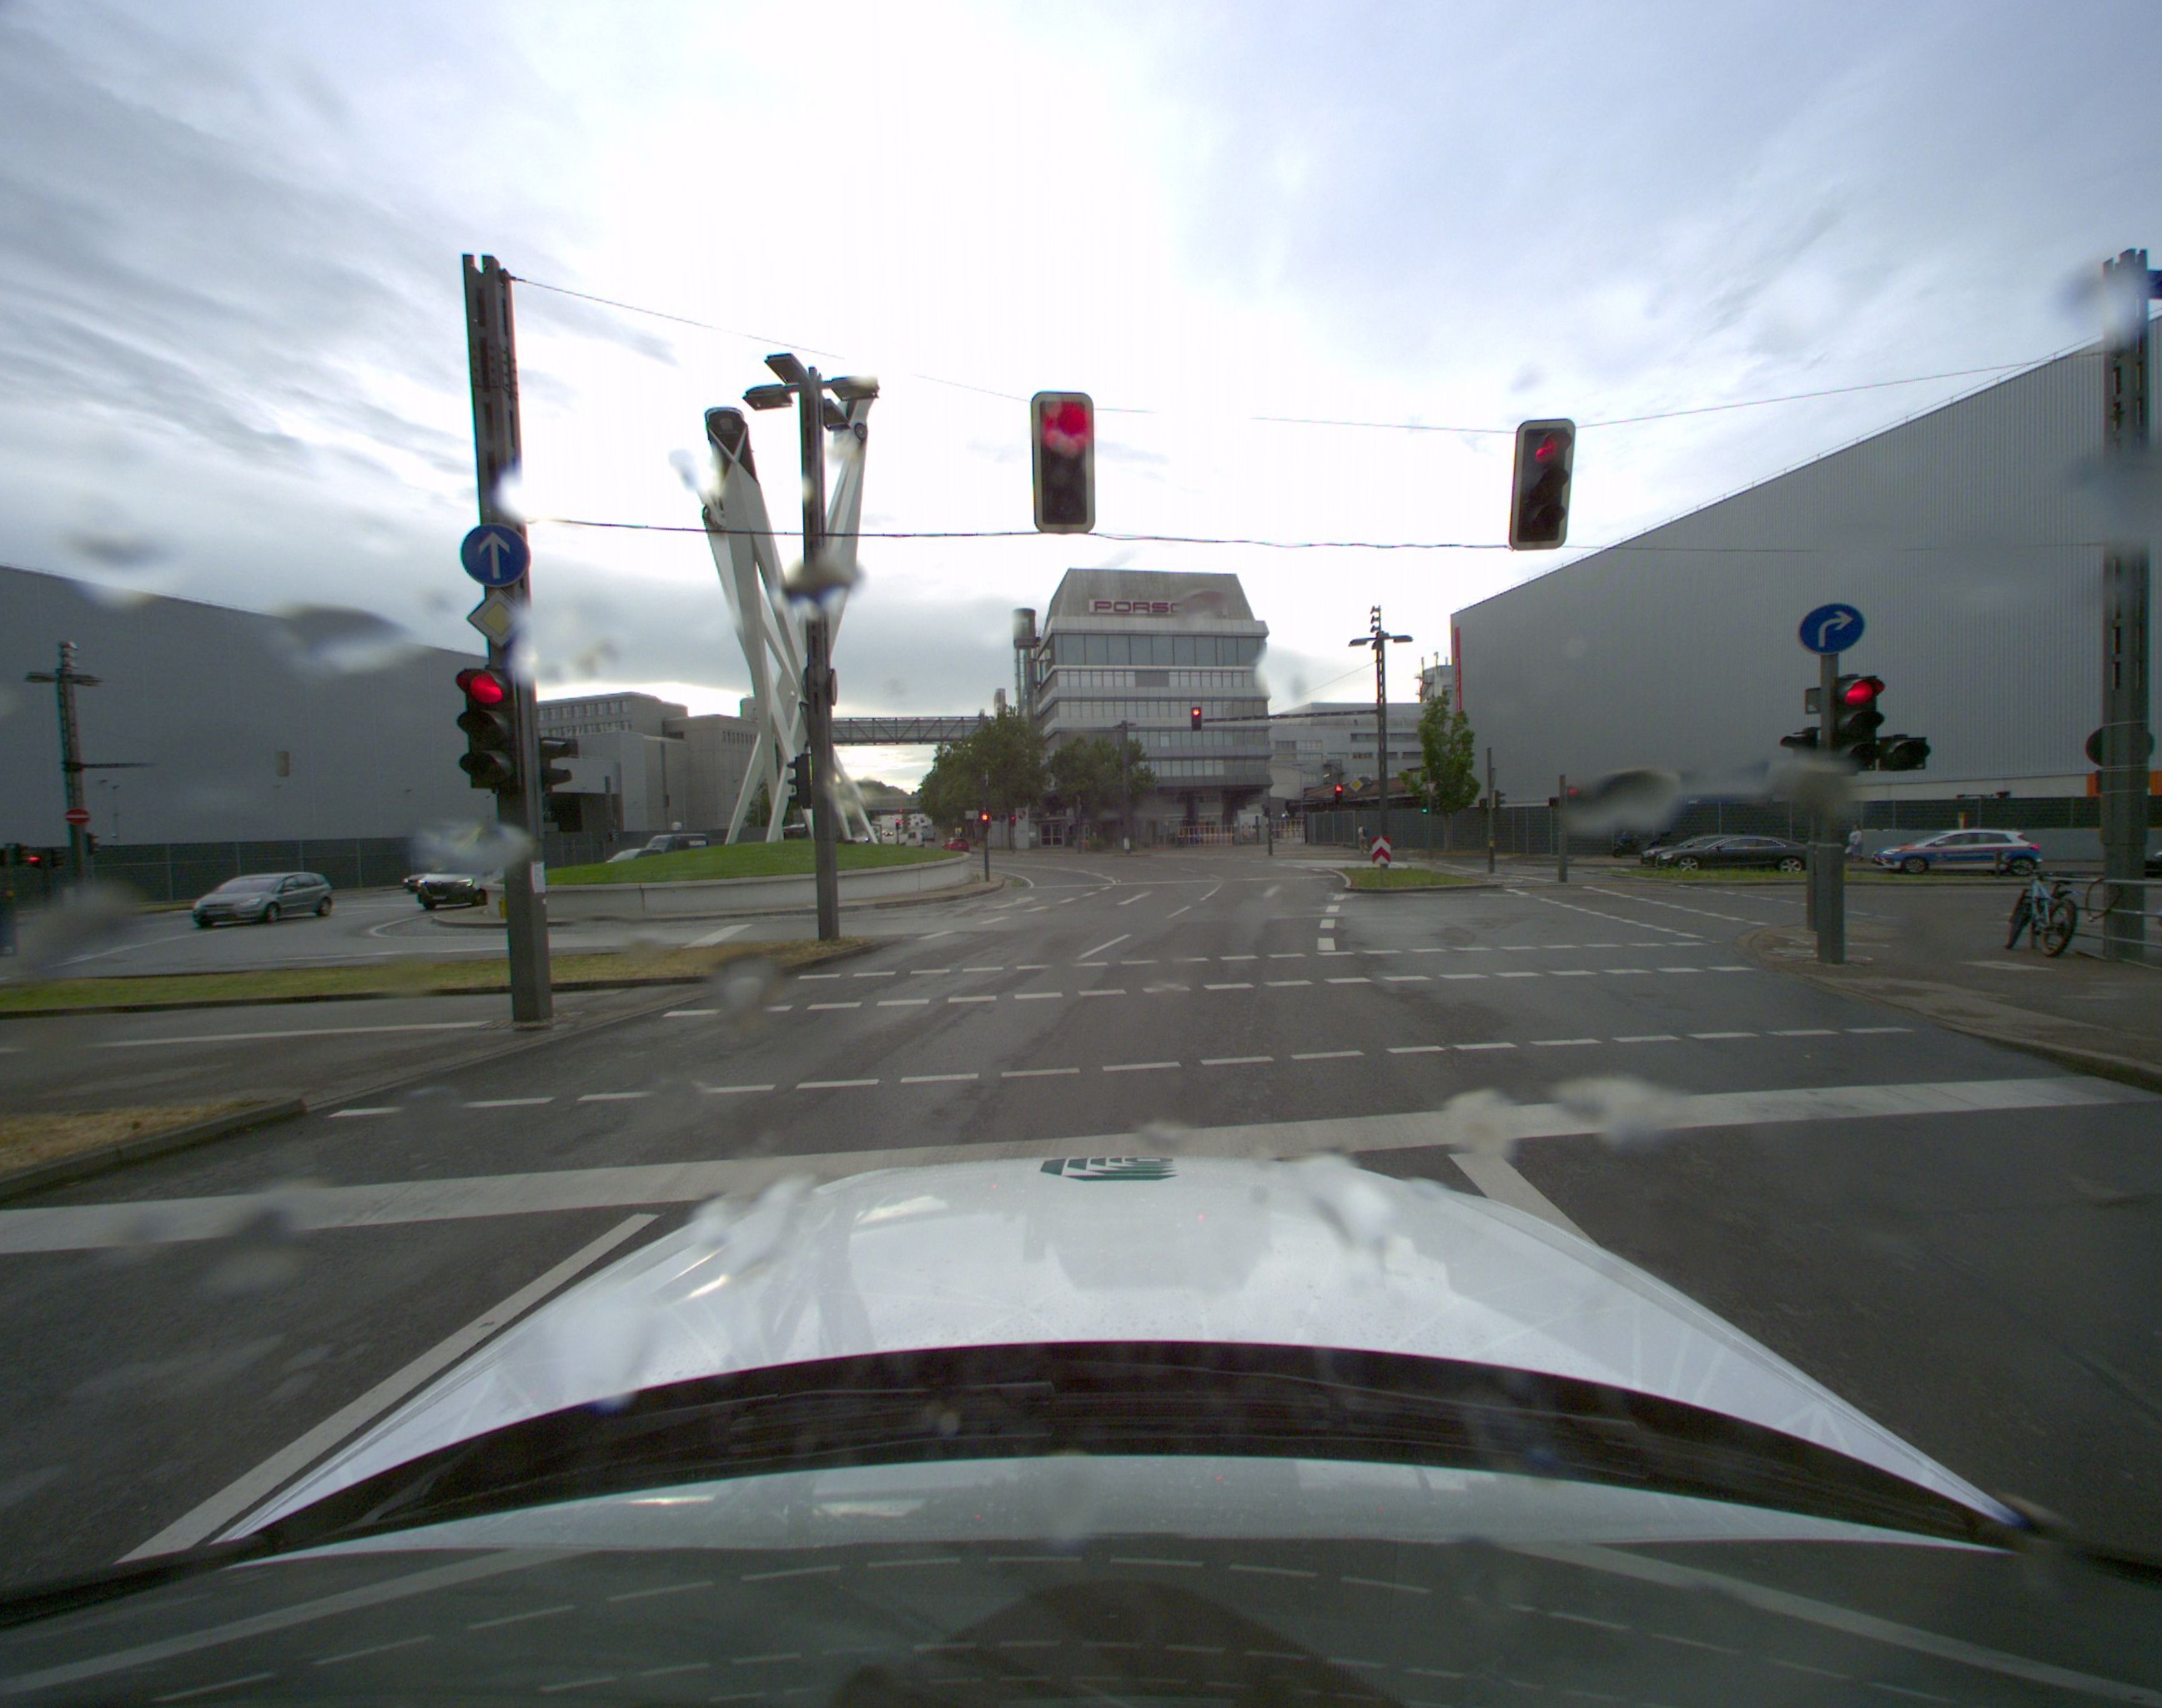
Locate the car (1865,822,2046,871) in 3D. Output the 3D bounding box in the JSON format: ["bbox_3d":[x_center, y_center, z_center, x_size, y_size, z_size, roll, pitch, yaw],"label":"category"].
[{"bbox_3d":[30.190,-0.261,28.305,3.930,1.601,1.924,0,1,32],"label":"car"}]

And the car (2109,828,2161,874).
[{"bbox_3d":[35.375,-0.099,25.254,3.949,1.392,1.769,0,2,32],"label":"car"}]

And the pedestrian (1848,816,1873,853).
[{"bbox_3d":[31.499,-0.790,32.908,0.642,1.481,0.442,-1,0,35],"label":"pedestrian"}]

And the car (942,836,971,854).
[{"bbox_3d":[-11.231,-0.819,73.380,1.780,1.464,3.705,-2,-1,-22],"label":"car"}]

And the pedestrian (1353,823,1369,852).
[{"bbox_3d":[15.744,-0.915,45.757,0.801,1.610,0.773,-2,-1,19],"label":"pedestrian"}]

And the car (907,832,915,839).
[{"bbox_3d":[-35.365,-3.839,169.486,1.558,1.288,3.399,-2,-1,-12],"label":"car"}]

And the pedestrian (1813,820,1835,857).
[{"bbox_3d":[30.669,-0.639,33.621,0.605,1.481,0.426,-1,0,37],"label":"pedestrian"}]

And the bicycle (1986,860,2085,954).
[{"bbox_3d":[12.457,0.652,10.670,0.381,1.097,1.762,-2,0,35],"label":"bicycle"}]

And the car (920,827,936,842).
[{"bbox_3d":[-25.878,-3.274,137.382,2.237,2.108,4.927,-2,-1,-16],"label":"car"}]

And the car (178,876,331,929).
[{"bbox_3d":[-27.784,1.564,27.574,1.837,1.494,3.978,-2,0,-16],"label":"car"}]

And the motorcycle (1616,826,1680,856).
[{"bbox_3d":[25.777,-0.586,37.082,2.330,1.344,0.657,-1,1,30],"label":"motorcycle"}]

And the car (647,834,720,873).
[{"bbox_3d":[-31.403,-0.082,64.602,1.959,2.820,7.132,-2,0,2],"label":"car"}]

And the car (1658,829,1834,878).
[{"bbox_3d":[22.788,-0.046,28.160,4.525,1.539,1.769,0,2,32],"label":"car"}]

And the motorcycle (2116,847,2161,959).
[{"bbox_3d":[15.168,0.618,10.536,2.213,1.452,0.759,-1,0,13],"label":"motorcycle"}]

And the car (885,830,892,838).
[{"bbox_3d":[-48.054,-4.990,203.403,1.629,1.816,3.717,-1,1,-13],"label":"car"}]

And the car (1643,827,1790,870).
[{"bbox_3d":[24.189,-0.229,31.215,4.244,1.539,1.769,0,2,32],"label":"car"}]

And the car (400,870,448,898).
[{"bbox_3d":[-34.807,1.568,43.103,1.849,1.338,4.197,-2,0,-40],"label":"car"}]

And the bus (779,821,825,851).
[{"bbox_3d":[-32.884,-2.055,96.576,2.667,3.200,12.635,-1,1,-8],"label":"bus"}]

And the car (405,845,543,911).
[{"bbox_3d":[-25.081,0.887,33.981,1.991,2.447,5.416,-2,1,-5],"label":"car"}]
